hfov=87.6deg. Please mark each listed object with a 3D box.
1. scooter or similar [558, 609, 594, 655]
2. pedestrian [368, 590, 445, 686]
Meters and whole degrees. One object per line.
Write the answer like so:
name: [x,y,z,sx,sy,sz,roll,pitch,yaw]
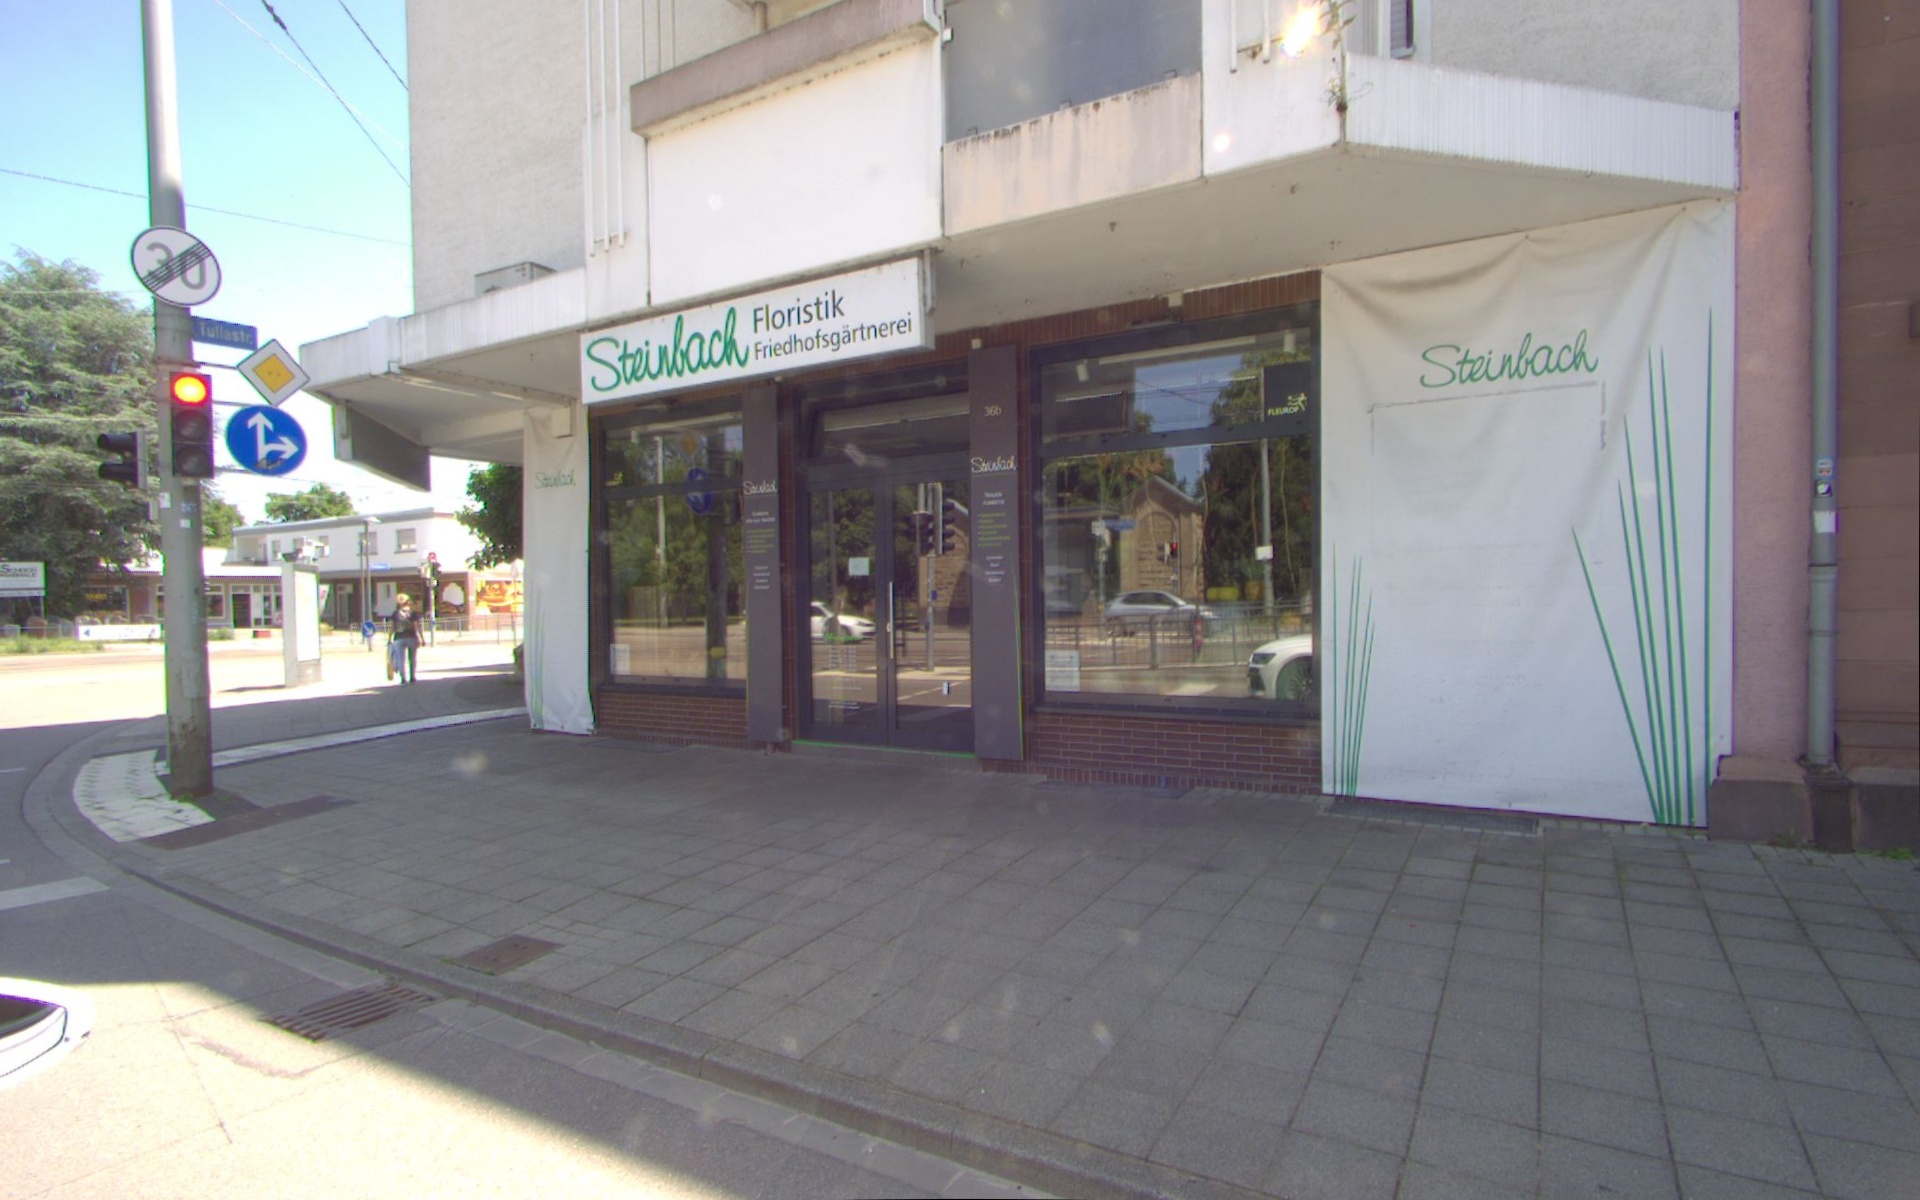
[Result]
scooter or similar: [-10.473,0.867,27.337,0.387,1.229,1.255,-1,0,5]
pedestrian: [-9.798,0.659,17.734,0.816,1.606,0.822,0,4,38]
